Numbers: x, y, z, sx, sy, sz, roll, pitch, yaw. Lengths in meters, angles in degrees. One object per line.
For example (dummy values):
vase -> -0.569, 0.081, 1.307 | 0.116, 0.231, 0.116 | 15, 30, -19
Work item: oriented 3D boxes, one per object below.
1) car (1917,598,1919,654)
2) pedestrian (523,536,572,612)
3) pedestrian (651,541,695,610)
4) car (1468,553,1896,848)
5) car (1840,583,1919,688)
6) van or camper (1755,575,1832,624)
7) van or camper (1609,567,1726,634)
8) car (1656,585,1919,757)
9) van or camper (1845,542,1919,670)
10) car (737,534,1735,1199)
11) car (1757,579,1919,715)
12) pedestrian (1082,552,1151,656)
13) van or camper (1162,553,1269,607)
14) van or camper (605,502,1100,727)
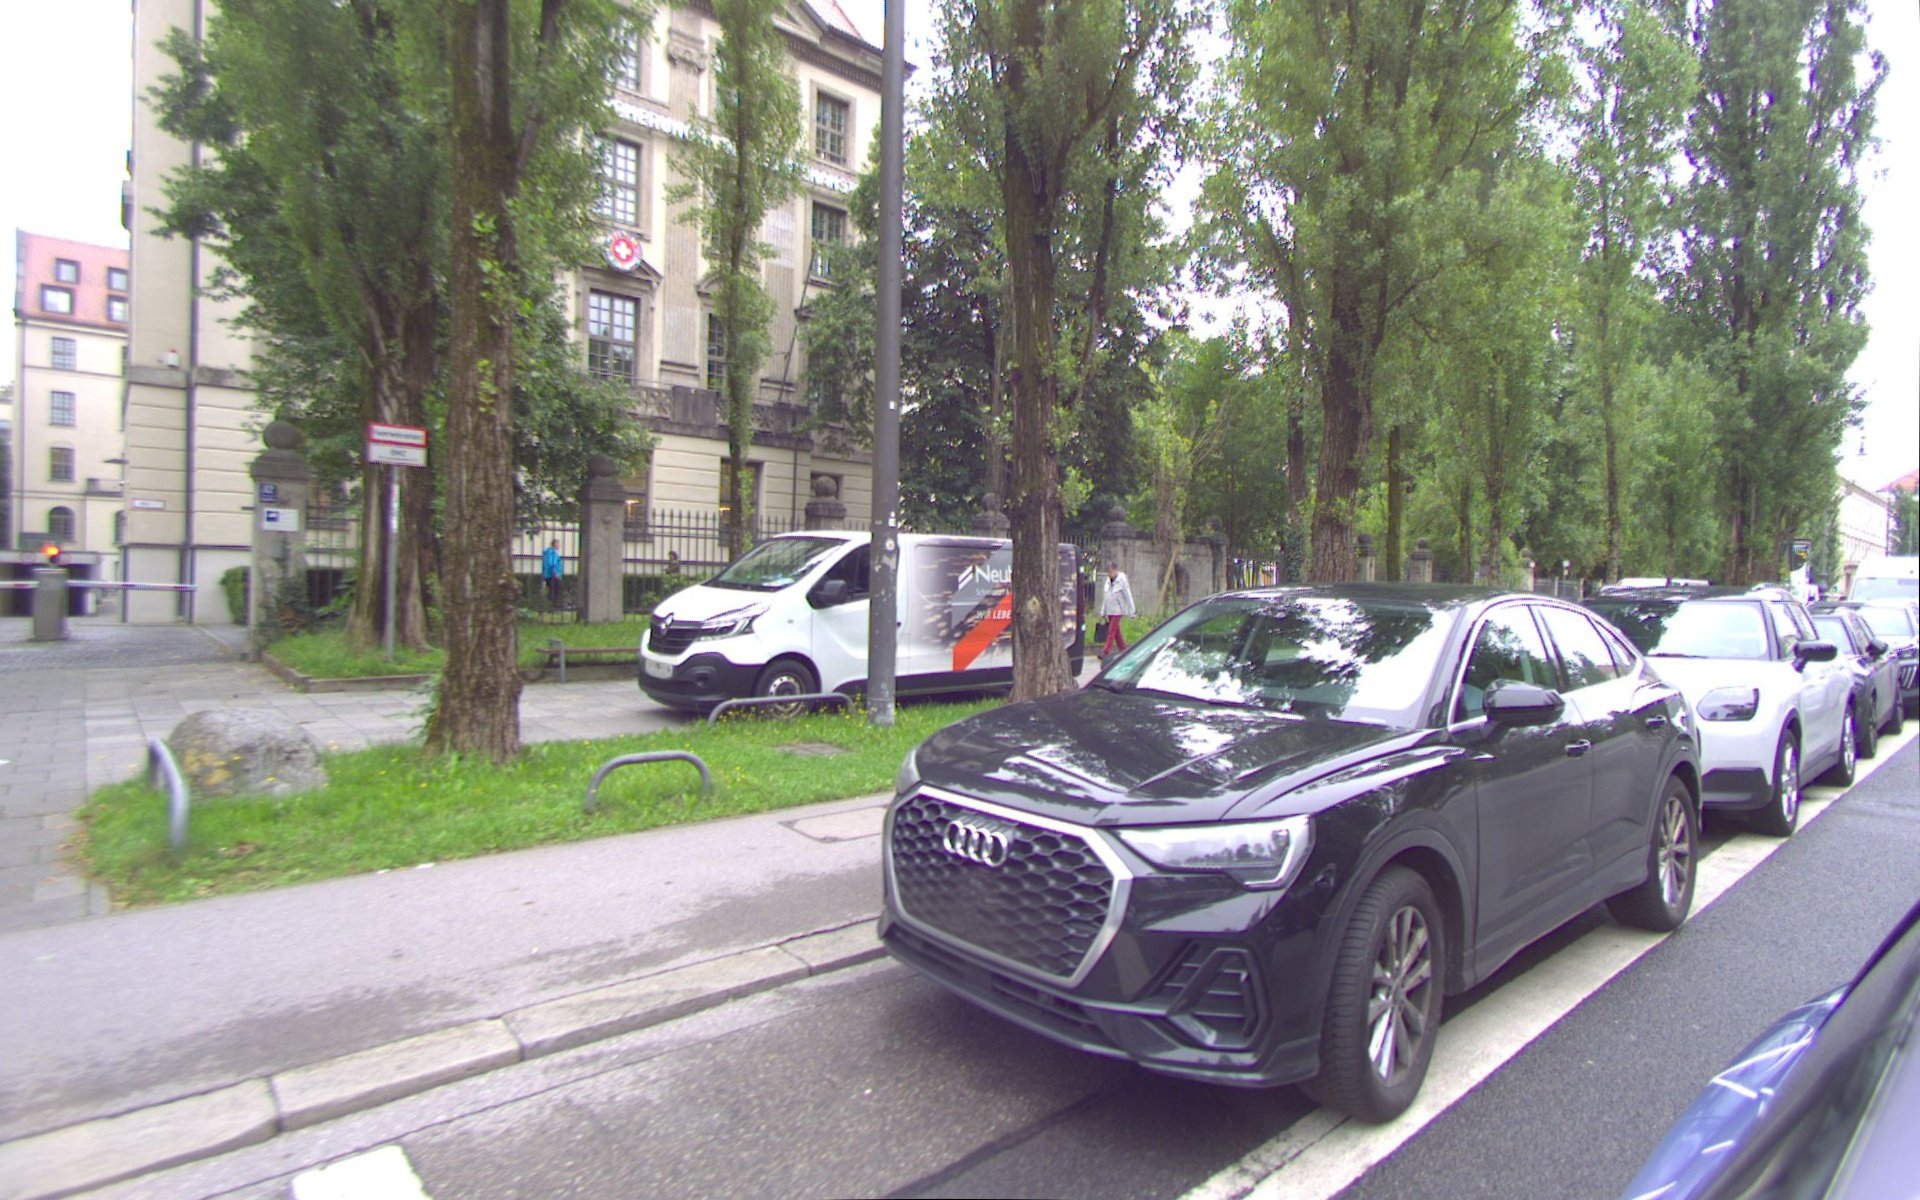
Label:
car -> 26.563, 0.691, 26.677 | 3.932, 1.438, 1.678 | 0, 1, -43
pedestrian -> -9.971, -0.621, 24.455 | 0.879, 1.790, 0.797 | 1, 1, -38
pedestrian -> -7.662, -0.644, 27.000 | 0.879, 1.790, 0.797 | 1, 1, -38
car -> 5.847, 0.559, 7.953 | 4.500, 1.696, 1.746 | 0, 1, -41
car -> 16.934, 0.588, 17.776 | 4.343, 1.669, 1.787 | 0, 1, -43
van or camper -> 36.880, -0.033, 44.742 | 4.902, 2.039, 2.006 | 0, 0, -43
van or camper -> 22.498, 0.016, 32.102 | 4.951, 1.958, 1.978 | 0, 0, -42
car -> 9.388, 0.648, 11.268 | 4.220, 1.539, 1.706 | 0, 1, -41
van or camper -> 21.622, 0.114, 22.471 | 6.305, 2.572, 2.142 | 0, 1, -41
car -> 1.503, 0.626, 4.230 | 4.385, 1.560, 1.884 | 0, 1, -41
car -> 13.014, 0.575, 14.432 | 4.557, 1.638, 1.787 | 0, 1, -41
pedestrian -> 2.786, 0.061, 17.983 | 0.879, 1.790, 0.797 | 1, 1, -38
van or camper -> 13.670, -1.099, 54.411 | 2.210, 2.740, 5.220 | 0, 1, -41
van or camper -> -0.975, 0.122, 11.334 | 5.274, 1.958, 2.080 | 0, 0, -41
